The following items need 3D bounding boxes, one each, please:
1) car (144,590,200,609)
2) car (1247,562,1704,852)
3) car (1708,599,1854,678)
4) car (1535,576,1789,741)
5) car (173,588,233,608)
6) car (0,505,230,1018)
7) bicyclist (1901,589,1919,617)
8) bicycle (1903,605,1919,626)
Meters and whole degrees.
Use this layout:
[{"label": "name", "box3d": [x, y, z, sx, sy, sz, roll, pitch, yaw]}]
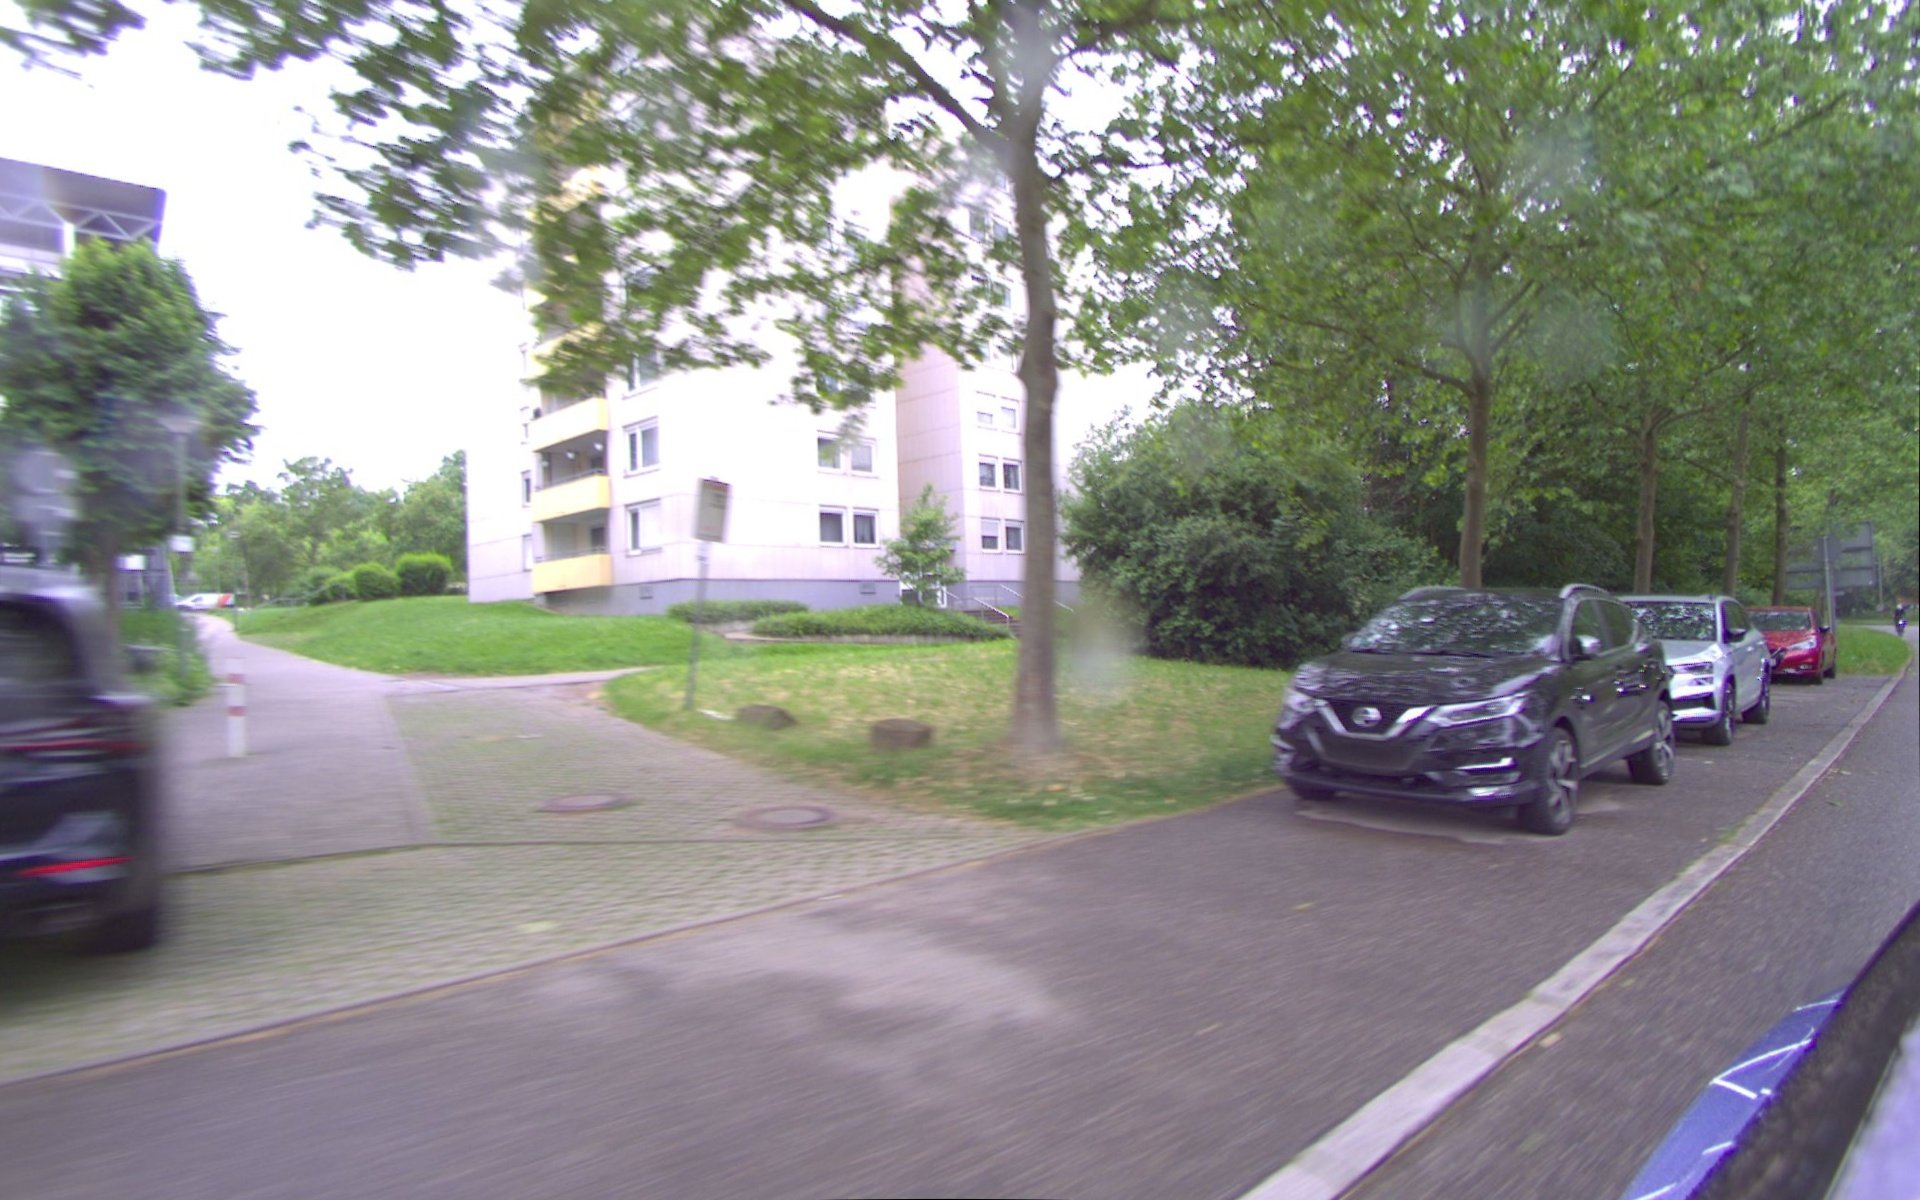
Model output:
[{"label": "car", "box3d": [-86.616, -0.051, 111.316, 4.758, 1.942, 1.996, 0, -1, -42]}, {"label": "car", "box3d": [4.154, 0.590, 7.799, 4.298, 1.622, 1.803, 0, 0, -43]}, {"label": "car", "box3d": [16.041, 0.676, 19.714, 3.682, 1.389, 1.798, 0, 0, -44]}, {"label": "car", "box3d": [8.428, 0.554, 11.997, 4.183, 1.611, 1.729, 0, 0, -44]}, {"label": "car", "box3d": [-81.807, -0.218, 109.372, 5.090, 2.039, 1.996, 0, -1, -42]}, {"label": "car", "box3d": [-4.871, 0.585, 4.872, 1.737, 1.702, 4.476, 2, -3, -42]}, {"label": "bicyclist", "box3d": [52.522, 0.187, 55.864, 0.694, 1.517, 0.790, -3, -3, 36]}, {"label": "bicycle", "box3d": [52.562, 0.860, 55.861, 0.450, 1.149, 1.809, -4, -3, 35]}]
